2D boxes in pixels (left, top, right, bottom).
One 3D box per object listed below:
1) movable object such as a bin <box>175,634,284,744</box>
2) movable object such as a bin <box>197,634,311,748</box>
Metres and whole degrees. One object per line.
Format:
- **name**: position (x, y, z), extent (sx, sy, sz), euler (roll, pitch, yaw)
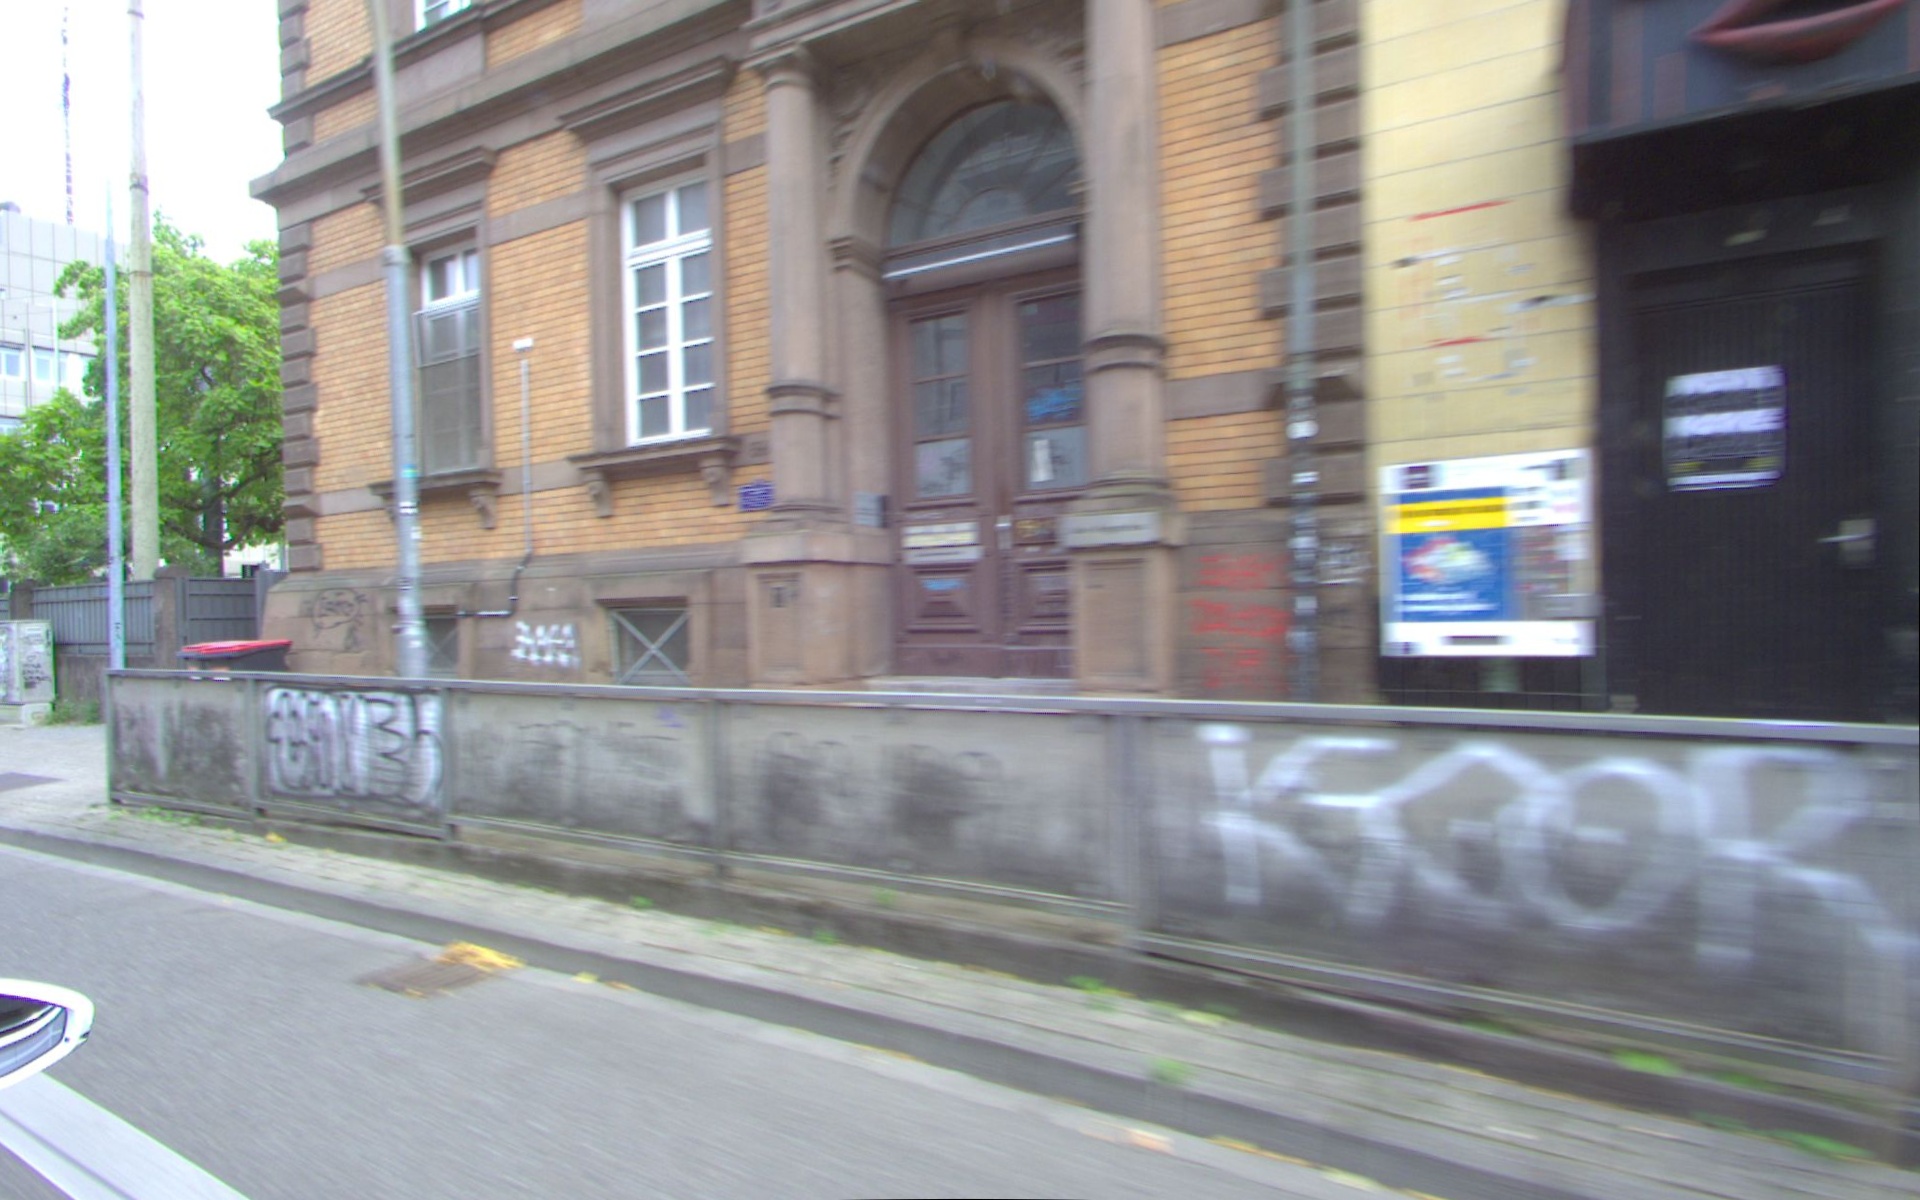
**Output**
- **movable object such as a bin**: position (-7.953, 0.956, 10.912), extent (0.667, 1.097, 0.650), euler (-1, 3, 27)
- **movable object such as a bin**: position (-7.384, 0.935, 10.488), extent (0.690, 1.097, 0.662), euler (-1, 3, 27)
